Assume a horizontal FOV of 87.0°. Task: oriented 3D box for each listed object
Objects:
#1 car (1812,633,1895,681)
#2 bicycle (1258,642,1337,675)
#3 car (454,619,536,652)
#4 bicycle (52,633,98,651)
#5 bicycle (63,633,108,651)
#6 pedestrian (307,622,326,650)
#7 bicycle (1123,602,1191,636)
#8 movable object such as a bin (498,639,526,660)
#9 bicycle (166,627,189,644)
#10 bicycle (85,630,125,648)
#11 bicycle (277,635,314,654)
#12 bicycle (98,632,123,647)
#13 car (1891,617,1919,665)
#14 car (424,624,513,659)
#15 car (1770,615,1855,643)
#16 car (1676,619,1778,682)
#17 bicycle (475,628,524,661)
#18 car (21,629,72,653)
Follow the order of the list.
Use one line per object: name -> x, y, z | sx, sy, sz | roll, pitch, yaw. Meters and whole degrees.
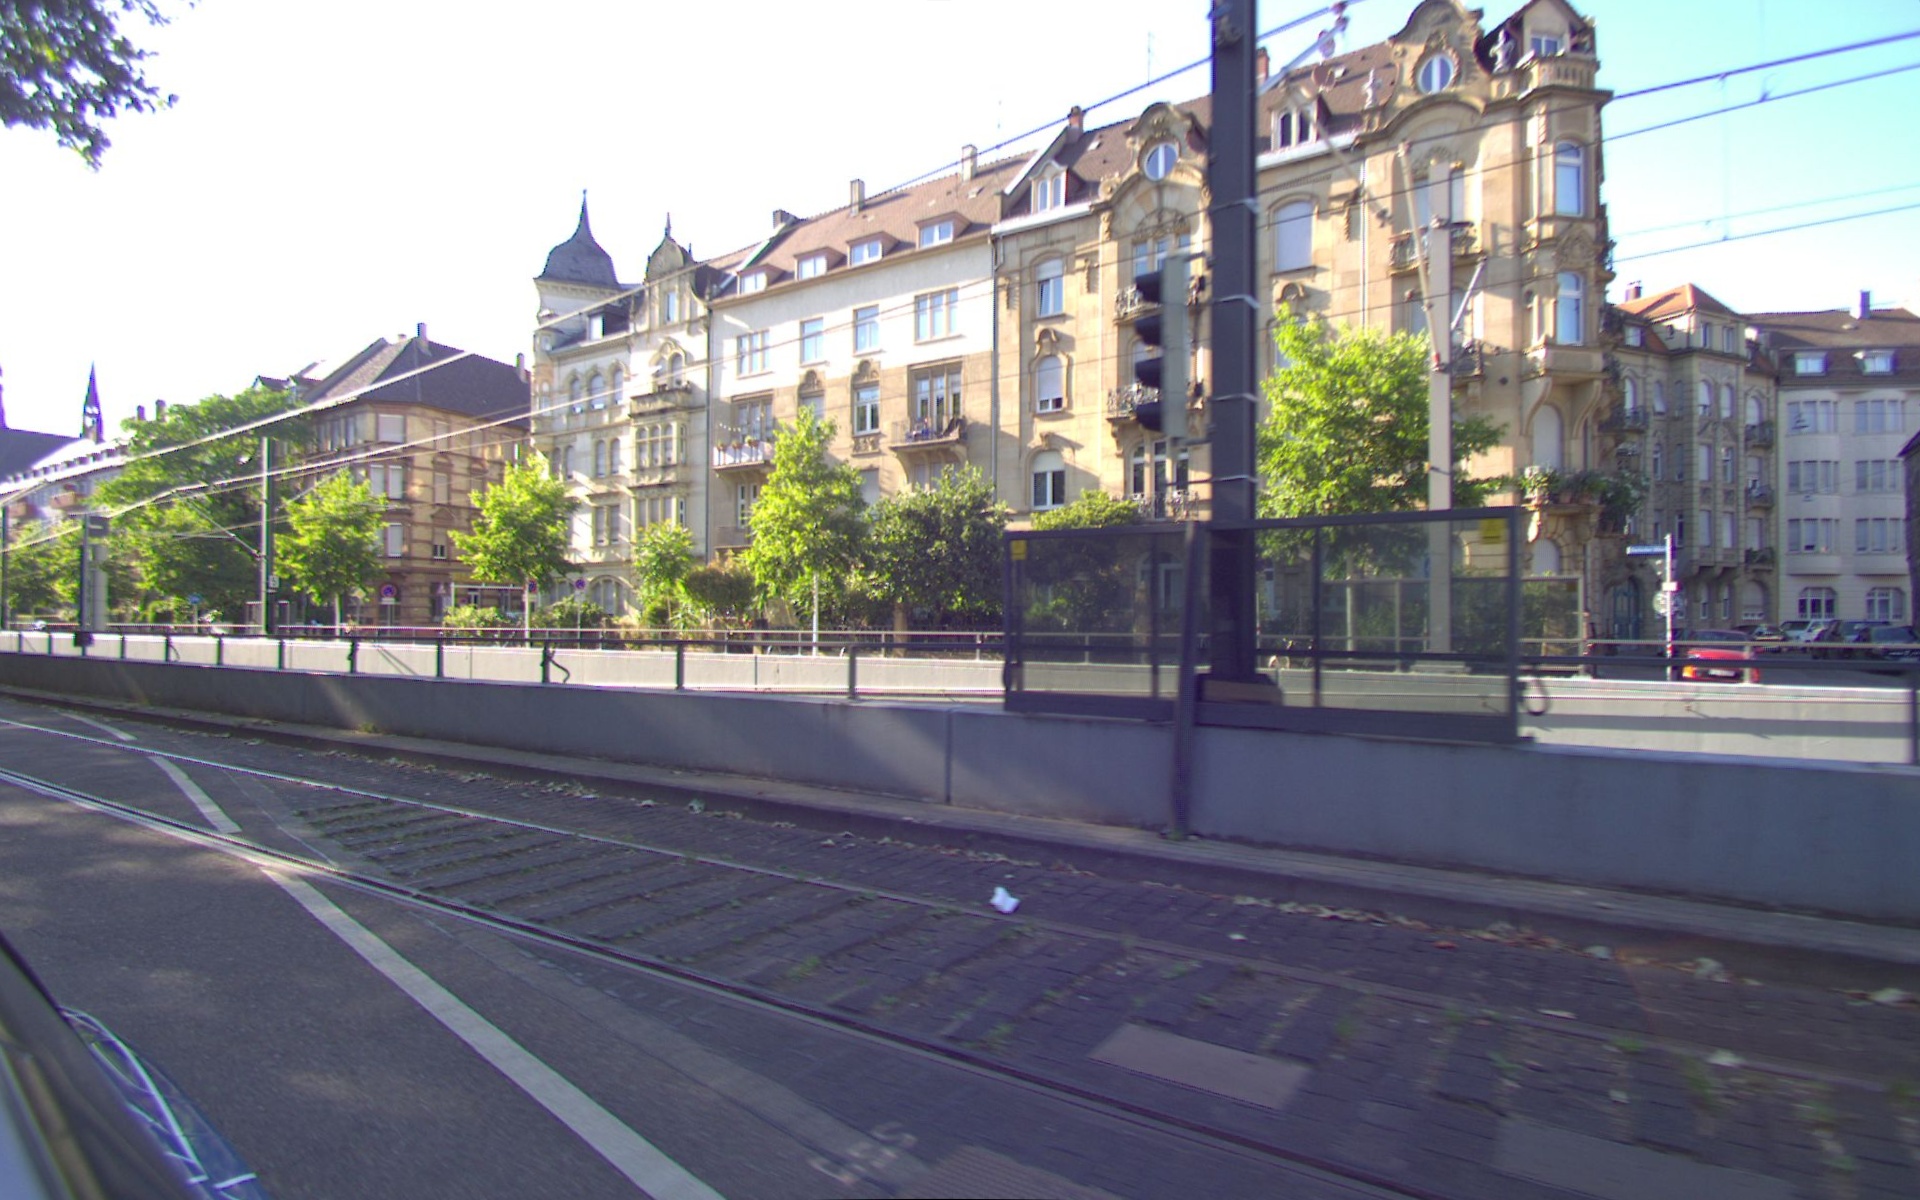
car -> 35.259, 2.200, 40.040 | 1.814, 1.811, 3.955 | -1, -2, 33
bicycle -> 8.674, 1.494, 26.057 | 1.884, 0.806, 0.412 | -1, 1, 38
car -> -27.848, 2.131, 60.627 | 4.451, 1.863, 1.985 | -1, 1, 23
bicycle -> -61.273, 2.905, 70.121 | 0.634, 1.107, 2.785 | -2, 1, 2
bicycle -> -60.588, 2.884, 70.133 | 0.634, 1.107, 2.785 | -2, 1, 2
pedestrian -> -40.361, 2.269, 63.454 | 0.864, 1.701, 0.712 | -1, 1, 40
bicycle -> 6.202, 0.606, 31.997 | 2.109, 1.026, 0.500 | -1, 1, 39
movable object such as a bin -> -20.756, 2.279, 46.908 | 0.780, 0.926, 0.891 | -1, 1, 29
bicycle -> -53.798, 2.418, 69.541 | 2.370, 1.107, 0.550 | -1, 1, 35
bicycle -> -57.374, 2.615, 67.937 | 0.550, 1.107, 2.373 | -2, 1, 4
bicycle -> -38.711, 2.593, 58.991 | 1.919, 1.012, 0.455 | 2, 1, 4
bicycle -> -56.814, 2.638, 67.668 | 0.532, 0.912, 1.267 | -2, 1, 4
car -> 33.415, 1.385, 34.473 | 1.814, 1.581, 3.955 | -1, -2, 33
car -> -25.927, 2.172, 53.471 | 1.815, 1.636, 3.966 | -1, 0, 25
car -> 47.438, 1.632, 56.321 | 3.931, 1.500, 1.825 | 0, -2, -18
car -> 20.515, 1.316, 27.213 | 1.814, 1.581, 3.955 | -1, -2, 33
bicycle -> -18.669, 1.800, 41.052 | 0.599, 1.289, 1.713 | -1, -2, 40
car -> -67.471, 3.025, 74.726 | 3.987, 1.597, 1.818 | -1, 1, 33
